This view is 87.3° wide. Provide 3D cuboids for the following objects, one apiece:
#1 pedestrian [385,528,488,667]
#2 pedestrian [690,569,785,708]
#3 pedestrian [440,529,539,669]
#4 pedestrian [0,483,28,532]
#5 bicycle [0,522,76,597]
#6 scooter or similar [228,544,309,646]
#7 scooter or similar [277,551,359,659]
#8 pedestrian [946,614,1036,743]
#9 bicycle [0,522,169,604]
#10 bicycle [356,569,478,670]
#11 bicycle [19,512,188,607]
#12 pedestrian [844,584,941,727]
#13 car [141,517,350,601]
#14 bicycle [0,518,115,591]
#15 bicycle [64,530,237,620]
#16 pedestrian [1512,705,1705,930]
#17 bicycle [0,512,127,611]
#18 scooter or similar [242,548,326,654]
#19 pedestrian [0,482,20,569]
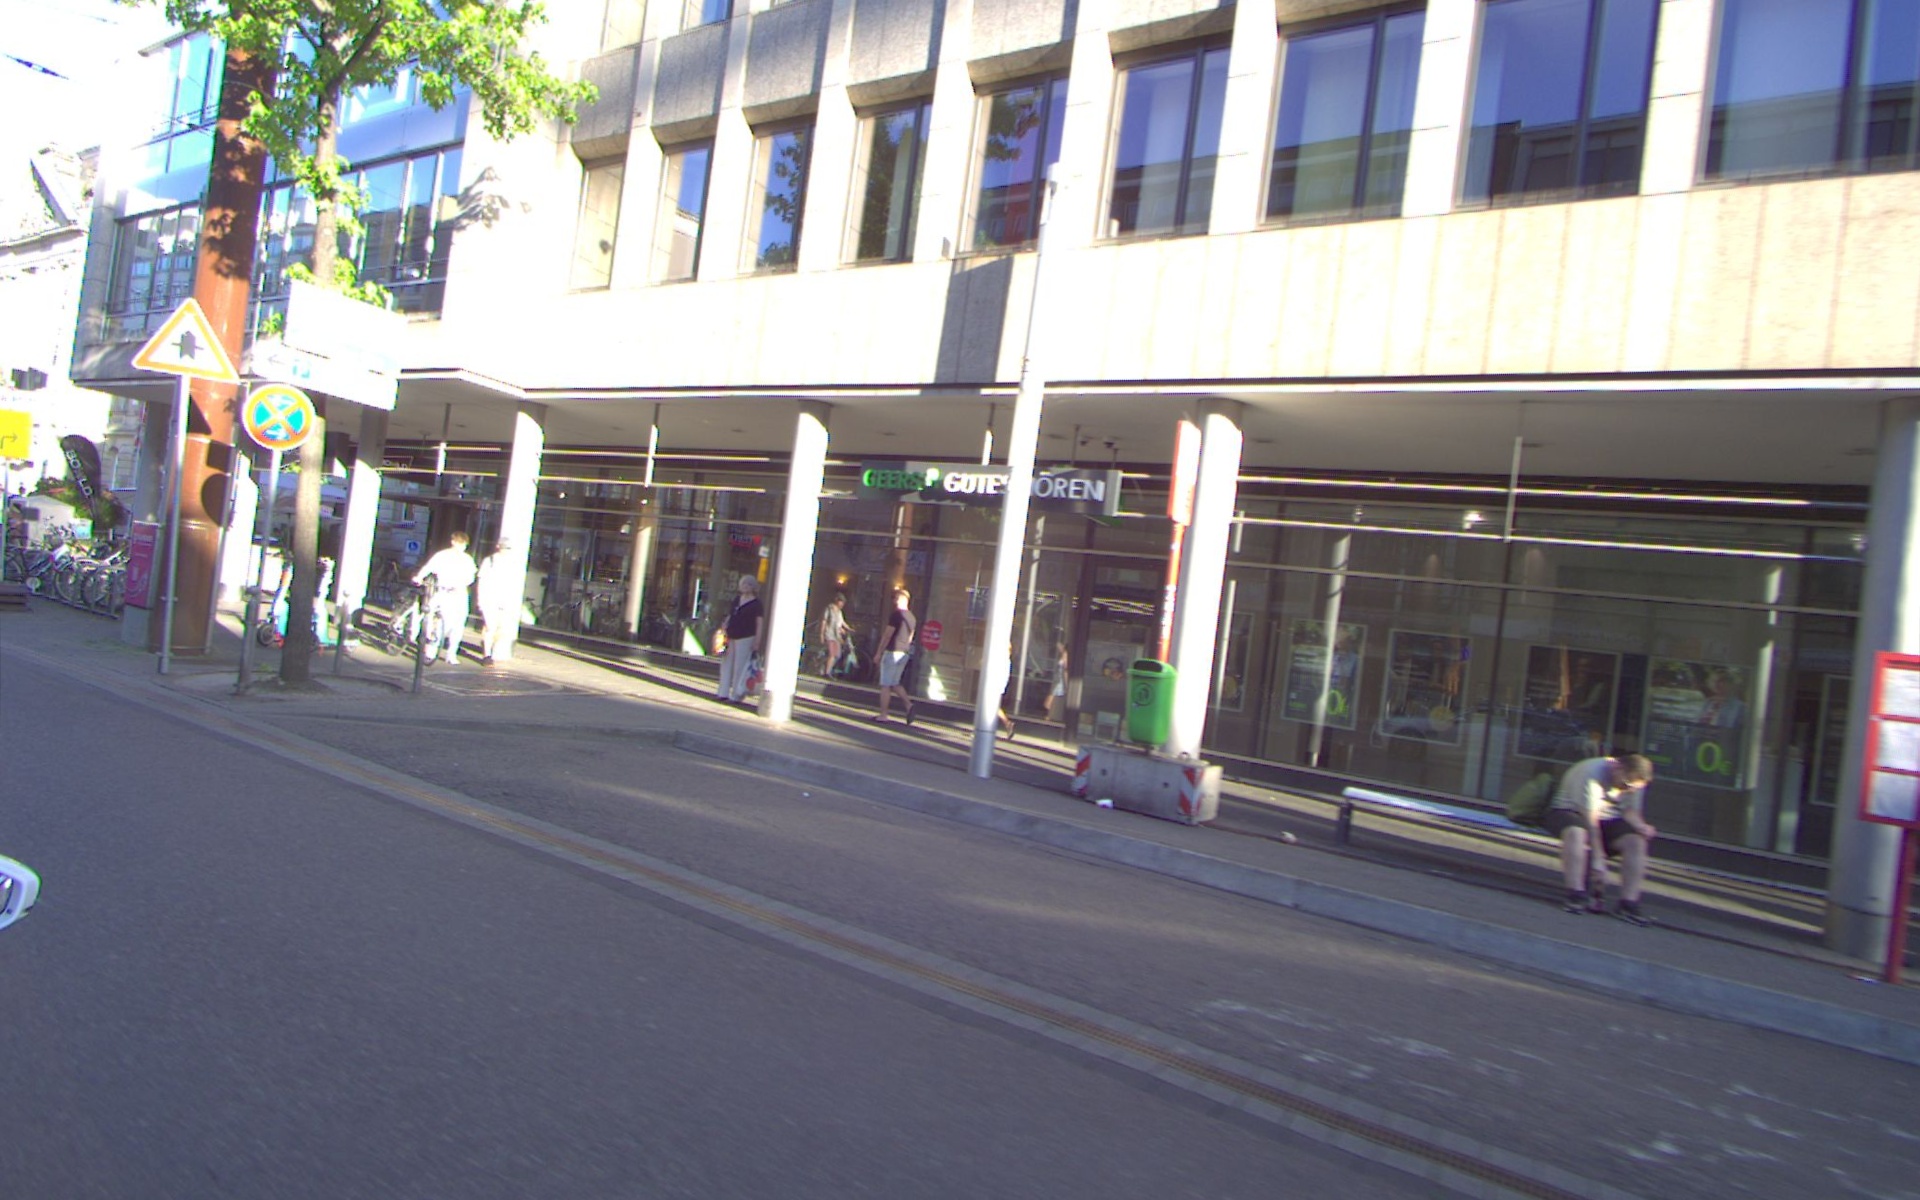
[{"bbox_3d":[-7.056,-0.029,13.570,0.678,1.768,0.900,7,3,31],"label":"pedestrian"},{"bbox_3d":[-2.875,0.501,13.016,0.768,1.672,0.638,7,-1,32],"label":"pedestrian"},{"bbox_3d":[-6.592,-0.015,14.091,1.016,1.836,0.701,7,3,31],"label":"pedestrian"},{"bbox_3d":[-37.274,-3.628,39.417,0.988,1.808,0.723,7,1,31],"label":"pedestrian"},{"bbox_3d":[-15.767,-0.732,16.244,0.598,1.108,2.122,7,-2,20],"label":"bicycle"},{"bbox_3d":[-9.361,-0.064,13.617,0.648,1.293,0.529,7,1,20],"label":"scooter or similar"},{"bbox_3d":[-8.193,0.067,12.845,0.648,1.293,0.492,7,1,20],"label":"scooter or similar"},{"bbox_3d":[0.406,1.021,13.184,0.783,1.560,0.644,7,-1,32],"label":"pedestrian"},{"bbox_3d":[-14.641,-0.589,16.857,0.598,1.109,2.122,7,-1,18],"label":"bicycle"},{"bbox_3d":[-7.313,0.246,13.507,1.898,1.142,0.565,7,1,35],"label":"bicycle"},{"bbox_3d":[-13.537,-0.607,15.982,0.598,1.297,1.914,7,0,20],"label":"bicycle"},{"bbox_3d":[-0.889,0.744,13.347,0.821,1.761,0.717,7,-1,32],"label":"pedestrian"},{"bbox_3d":[-17.599,-0.965,24.981,1.620,1.490,3.813,7,-2,26],"label":"car"},{"bbox_3d":[-16.508,-0.824,17.925,0.598,1.109,2.121,7,-1,20],"label":"bicycle"},{"bbox_3d":[-12.106,-0.341,15.128,0.598,1.171,1.914,7,0,20],"label":"bicycle"},{"bbox_3d":[4.679,1.530,7.325,0.763,1.393,0.837,8,-1,9],"label":"pedestrian"},{"bbox_3d":[-13.374,-0.558,14.552,0.598,1.297,1.914,7,0,20],"label":"bicycle"},{"bbox_3d":[-8.832,0.014,13.146,0.648,1.293,0.529,7,1,20],"label":"scooter or similar"},{"bbox_3d":[-20.453,-1.612,21.127,0.754,1.808,0.749,7,1,31],"label":"pedestrian"}]
